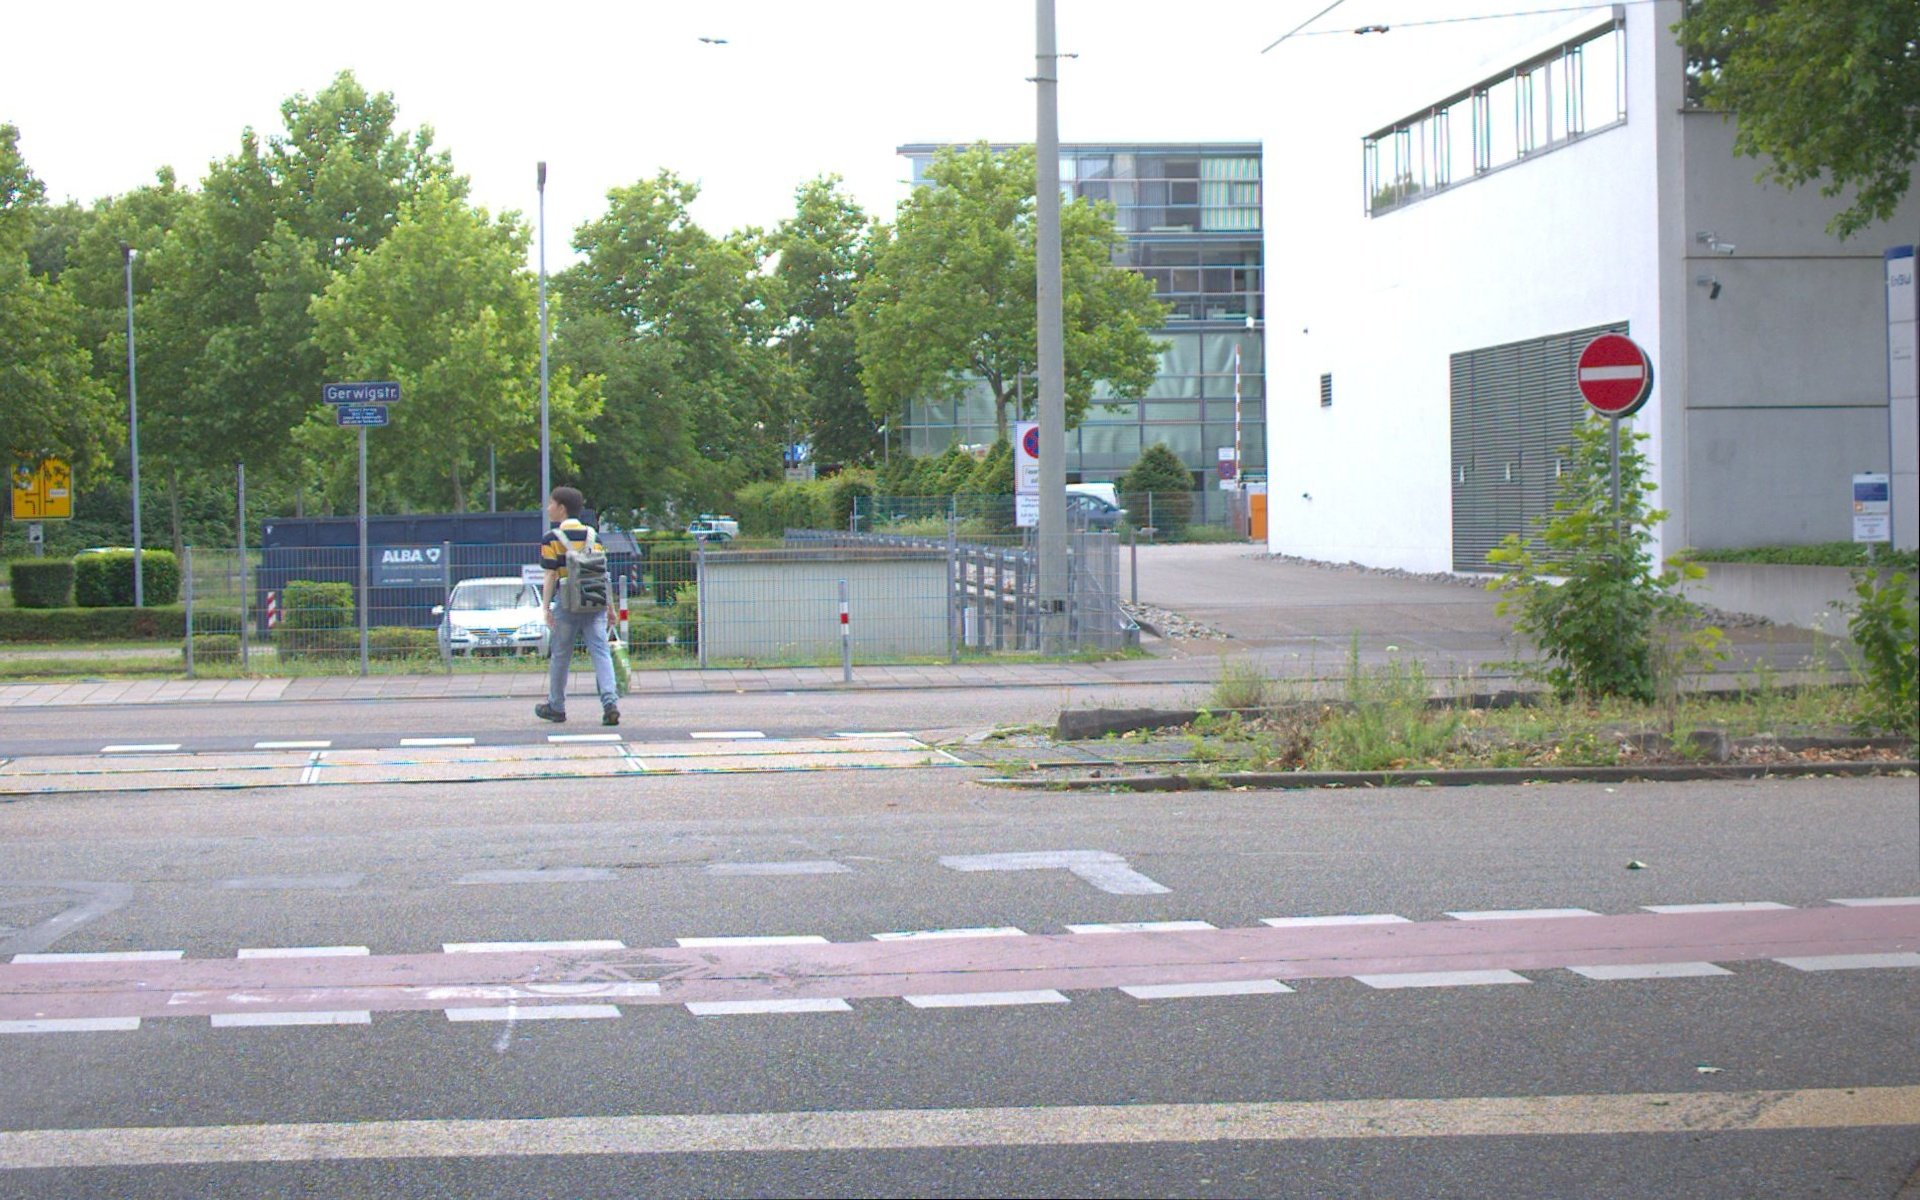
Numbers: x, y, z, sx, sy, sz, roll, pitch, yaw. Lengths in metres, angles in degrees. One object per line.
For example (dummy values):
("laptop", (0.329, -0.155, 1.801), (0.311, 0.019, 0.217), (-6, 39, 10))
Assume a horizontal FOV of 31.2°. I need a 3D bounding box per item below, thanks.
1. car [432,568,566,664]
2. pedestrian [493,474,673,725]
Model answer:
("car", (-7.295, 0.227, 54.708), (1.930, 1.398, 4.082), (-1, 1, -6))
("pedestrian", (-2.864, -0.023, 26.048), (1.000, 1.843, 1.229), (-1, 1, -24))
